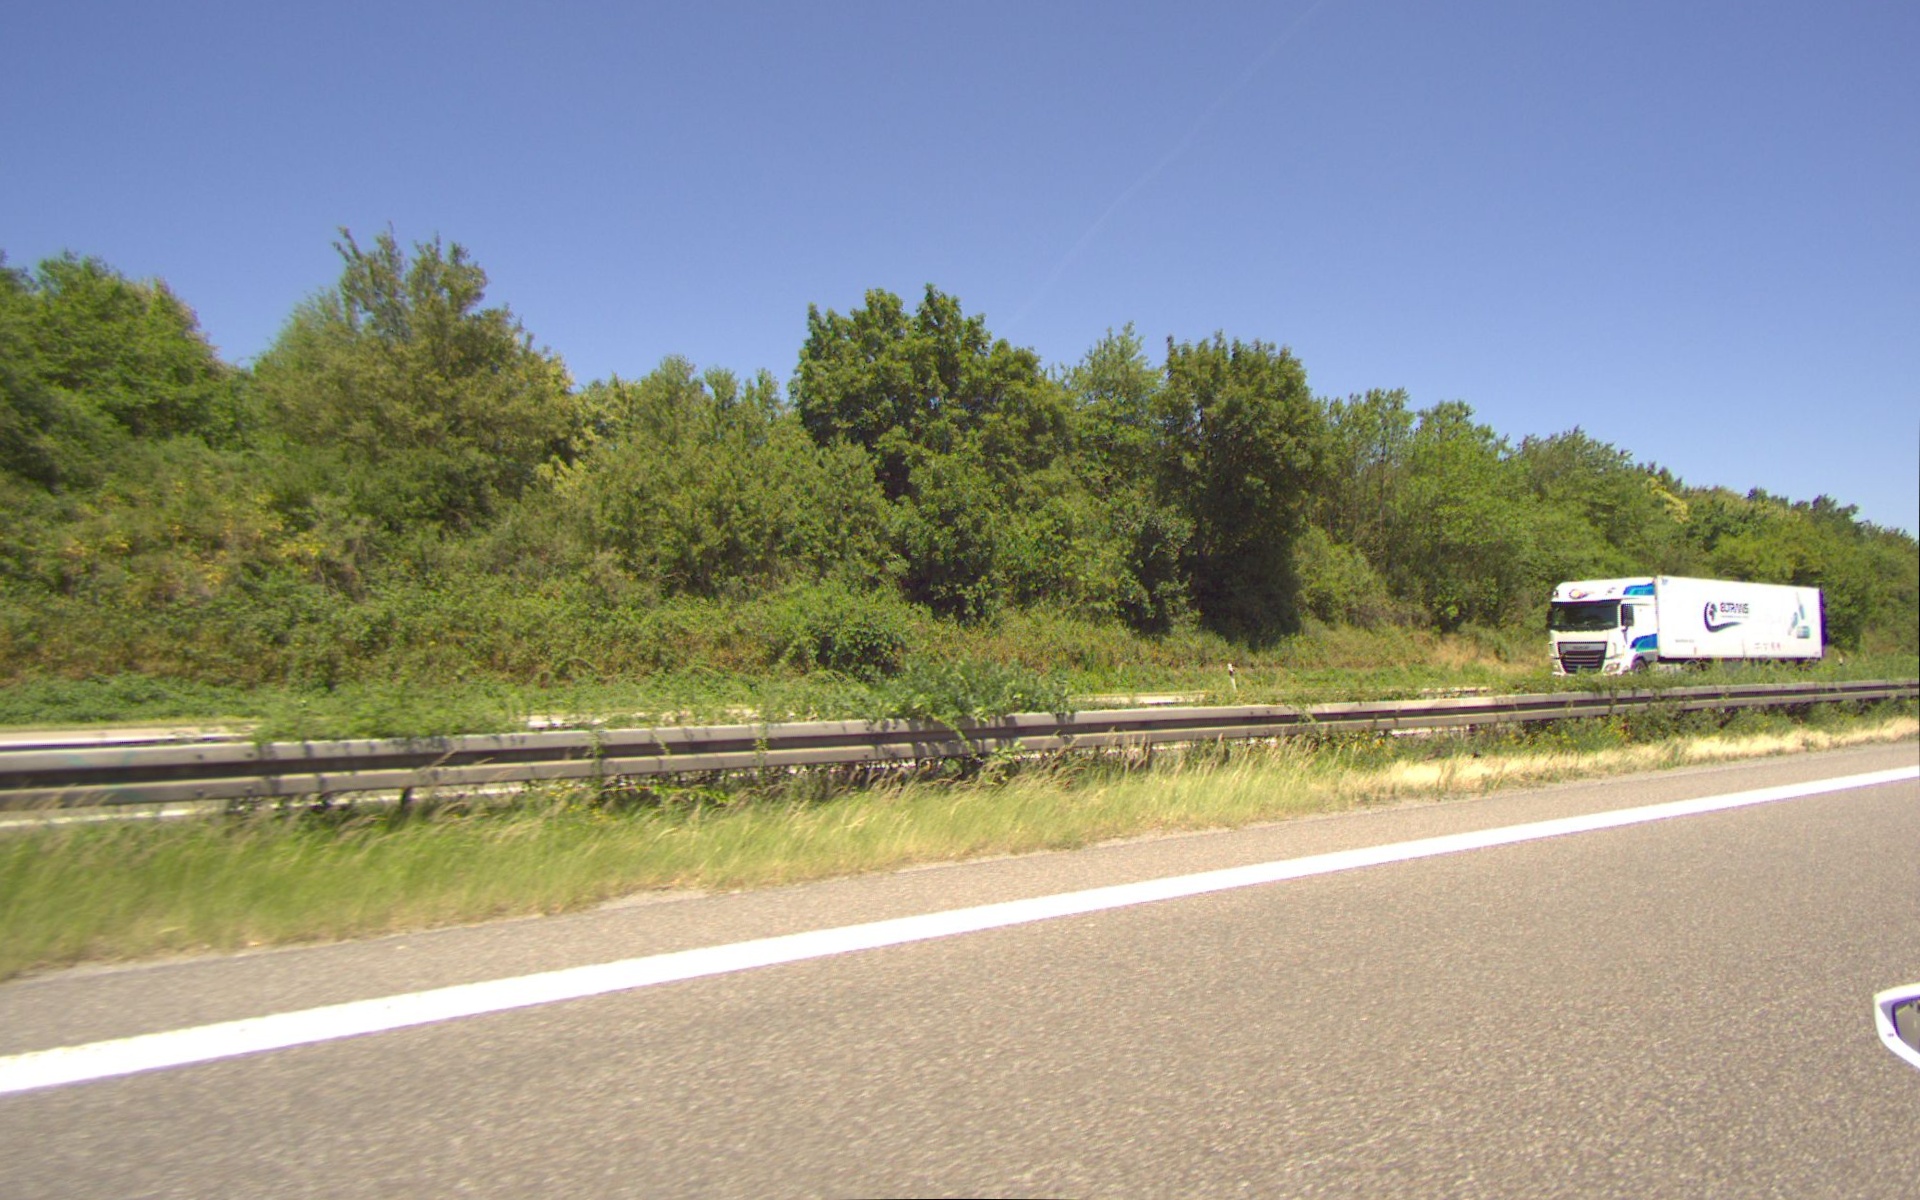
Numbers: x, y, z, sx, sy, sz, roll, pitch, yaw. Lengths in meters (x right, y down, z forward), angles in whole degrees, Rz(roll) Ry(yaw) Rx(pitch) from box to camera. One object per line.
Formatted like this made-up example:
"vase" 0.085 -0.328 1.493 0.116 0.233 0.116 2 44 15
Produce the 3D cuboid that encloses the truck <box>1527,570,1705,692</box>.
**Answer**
"truck" 24.343 1.119 37.279 5.874 4.204 3.178 2 0 -30

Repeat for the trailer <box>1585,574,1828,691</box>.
"trailer" 30.772 1.330 41.099 12.836 4.246 3.160 2 0 -31
